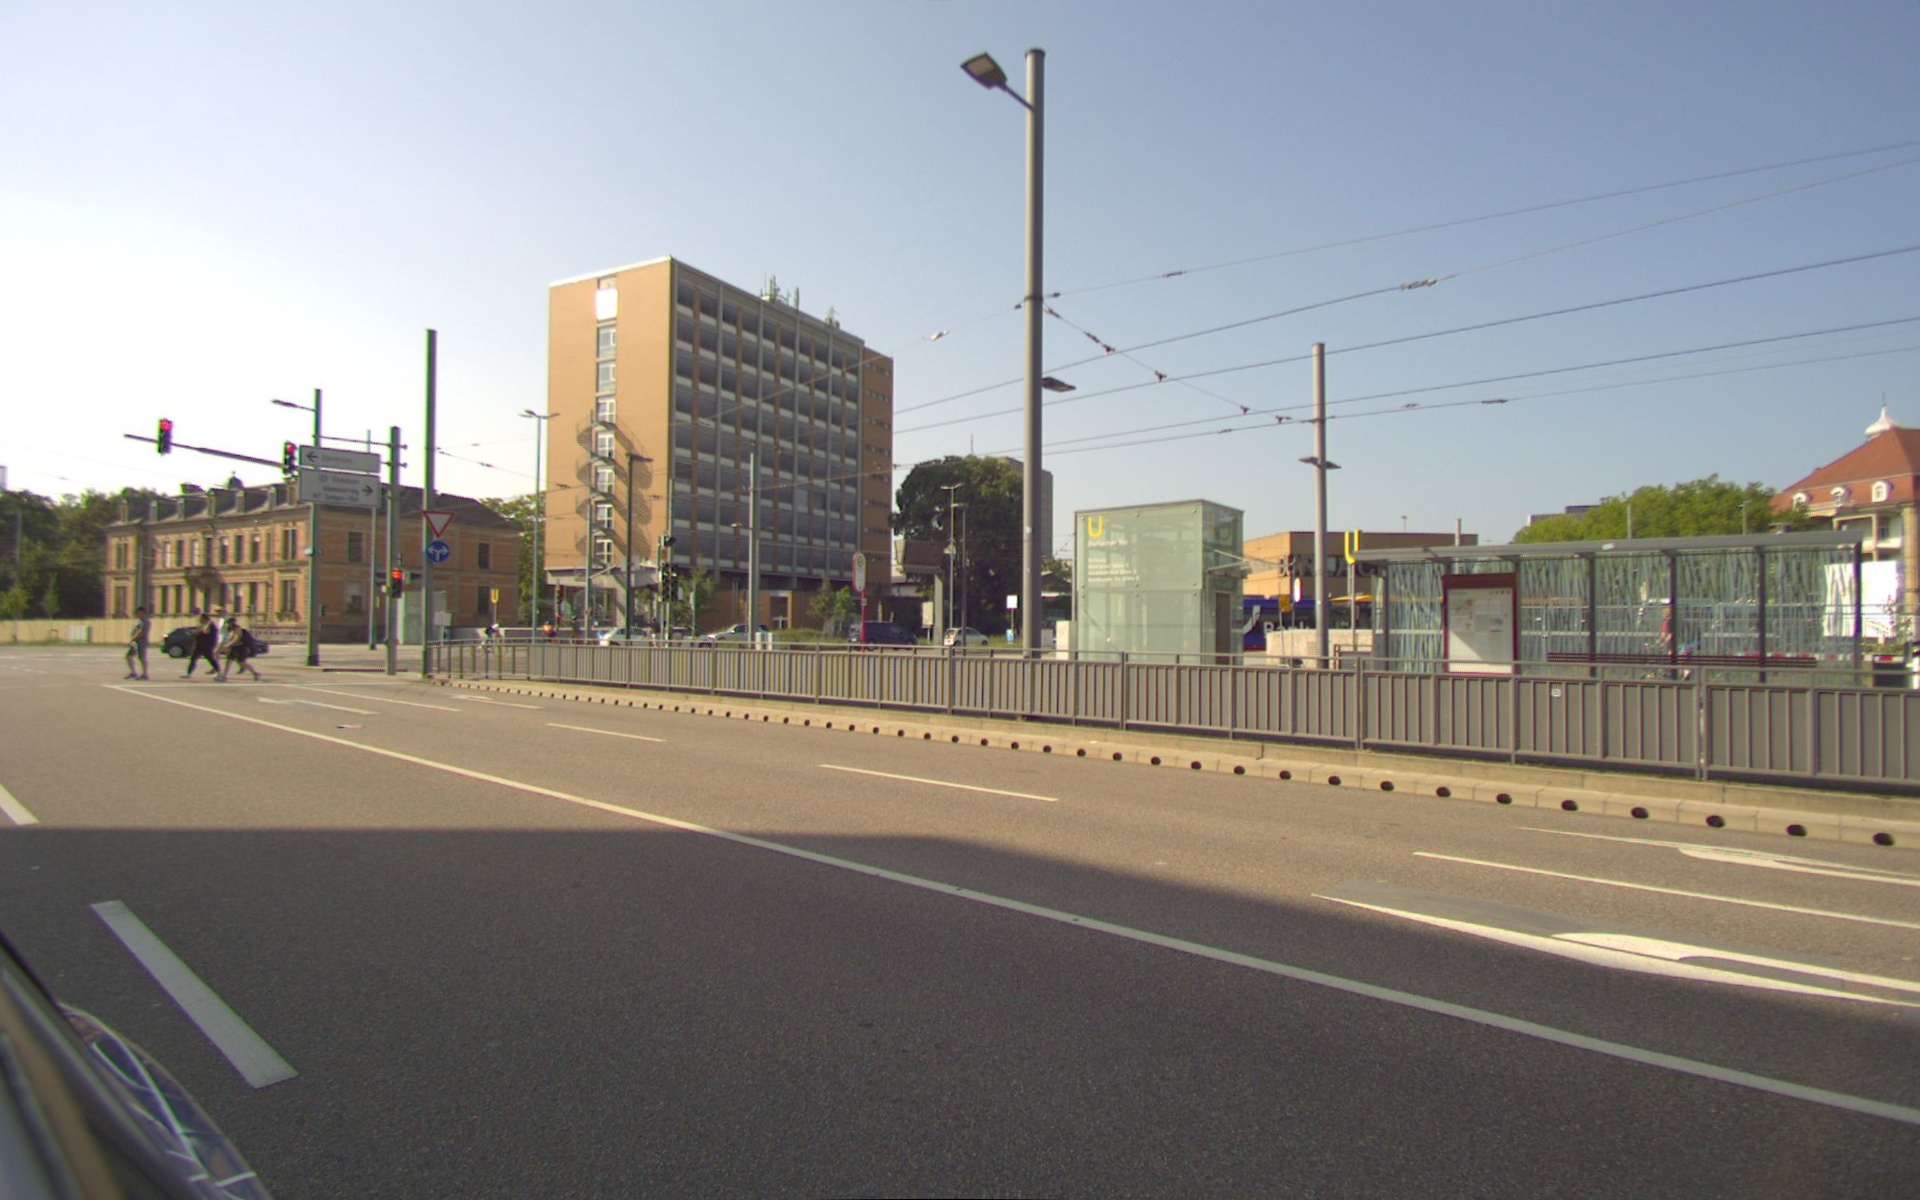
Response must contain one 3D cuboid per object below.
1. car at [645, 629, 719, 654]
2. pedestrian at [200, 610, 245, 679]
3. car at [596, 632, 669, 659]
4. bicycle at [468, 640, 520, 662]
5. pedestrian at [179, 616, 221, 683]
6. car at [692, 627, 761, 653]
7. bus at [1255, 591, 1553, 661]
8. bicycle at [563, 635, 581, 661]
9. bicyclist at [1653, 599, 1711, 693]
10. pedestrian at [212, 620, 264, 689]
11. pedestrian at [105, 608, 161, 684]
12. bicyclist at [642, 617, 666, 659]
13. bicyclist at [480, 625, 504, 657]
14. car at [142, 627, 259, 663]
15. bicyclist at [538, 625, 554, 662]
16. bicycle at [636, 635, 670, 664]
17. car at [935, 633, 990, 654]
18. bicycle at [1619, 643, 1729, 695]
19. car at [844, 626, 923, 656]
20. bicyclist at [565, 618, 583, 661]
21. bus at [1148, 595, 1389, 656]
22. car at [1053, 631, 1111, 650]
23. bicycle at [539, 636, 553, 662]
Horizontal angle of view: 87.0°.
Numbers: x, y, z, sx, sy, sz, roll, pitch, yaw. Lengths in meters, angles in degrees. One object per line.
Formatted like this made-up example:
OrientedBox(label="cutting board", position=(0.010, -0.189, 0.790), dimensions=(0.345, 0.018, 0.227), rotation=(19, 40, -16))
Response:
OrientedBox(label="car", position=(-16.669, 2.488, 60.675), dimensions=(3.931, 1.426, 1.809), rotation=(1, -3, -27))
OrientedBox(label="pedestrian", position=(-19.909, 1.206, 27.312), dimensions=(0.822, 1.802, 0.730), rotation=(5, -5, -41))
OrientedBox(label="car", position=(-18.108, 2.513, 55.965), dimensions=(3.553, 1.426, 1.809), rotation=(1, -3, -28))
OrientedBox(label="bicycle", position=(-21.894, 2.414, 47.564), dimensions=(2.159, 0.997, 0.531), rotation=(2, -2, -24))
OrientedBox(label="pedestrian", position=(-18.608, 1.220, 24.789), dimensions=(0.467, 1.610, 0.626), rotation=(-1, -5, 40))
OrientedBox(label="car", position=(-16.135, 2.755, 70.007), dimensions=(4.217, 1.720, 1.957), rotation=(2, -5, -33))
OrientedBox(label="bus", position=(21.151, 1.270, 48.519), dimensions=(13.110, 3.203, 3.229), rotation=(0, -2, -6))
OrientedBox(label="bicycle", position=(-18.107, 2.223, 47.221), dimensions=(0.371, 1.174, 1.864), rotation=(1, -3, -33))
OrientedBox(label="bicyclist", position=(13.863, 0.885, 19.438), dimensions=(0.819, 1.760, 0.481), rotation=(-2, -3, 42))
OrientedBox(label="pedestrian", position=(-16.928, 1.281, 23.739), dimensions=(0.548, 1.560, 0.799), rotation=(-2, -5, 43))
OrientedBox(label="pedestrian", position=(-19.046, 1.073, 23.321), dimensions=(0.651, 1.706, 0.805), rotation=(-1, -5, 42))
OrientedBox(label="bicyclist", position=(-12.199, 1.512, 40.358), dimensions=(0.790, 1.669, 0.581), rotation=(-2, -3, 42))
OrientedBox(label="bicyclist", position=(-21.959, 1.935, 47.483), dimensions=(0.955, 1.486, 1.091), rotation=(1, -2, -23))
OrientedBox(label="car", position=(-34.722, 2.046, 46.377), dimensions=(3.930, 1.608, 2.006), rotation=(1, -2, -26))
OrientedBox(label="bicyclist", position=(-18.905, 1.985, 46.213), dimensions=(0.503, 1.642, 0.810), rotation=(1, -3, -34))
OrientedBox(label="bicycle", position=(-12.237, 1.977, 40.355), dimensions=(1.745, 1.118, 0.397), rotation=(-2, -3, 41))
OrientedBox(label="car", position=(0.195, 3.104, 72.197), dimensions=(3.495, 1.446, 1.809), rotation=(1, -3, -29))
OrientedBox(label="bicycle", position=(13.804, 1.323, 19.601), dimensions=(1.695, 0.961, 0.346), rotation=(-2, -3, 42))
OrientedBox(label="car", position=(-4.909, 2.632, 65.013), dimensions=(4.690, 1.842, 1.809), rotation=(1, -2, -25))
OrientedBox(label="bicyclist", position=(-17.893, 1.834, 46.910), dimensions=(0.571, 1.989, 0.810), rotation=(1, -3, -34))
OrientedBox(label="bus", position=(17.869, 1.524, 59.089), dimensions=(13.114, 3.445, 3.228), rotation=(0, -2, -5))
OrientedBox(label="car", position=(9.573, 3.177, 79.476), dimensions=(4.275, 1.463, 1.809), rotation=(1, -3, -30))
OrientedBox(label="bicycle", position=(-18.902, 2.221, 46.204), dimensions=(0.306, 1.174, 1.503), rotation=(1, -3, -33))
